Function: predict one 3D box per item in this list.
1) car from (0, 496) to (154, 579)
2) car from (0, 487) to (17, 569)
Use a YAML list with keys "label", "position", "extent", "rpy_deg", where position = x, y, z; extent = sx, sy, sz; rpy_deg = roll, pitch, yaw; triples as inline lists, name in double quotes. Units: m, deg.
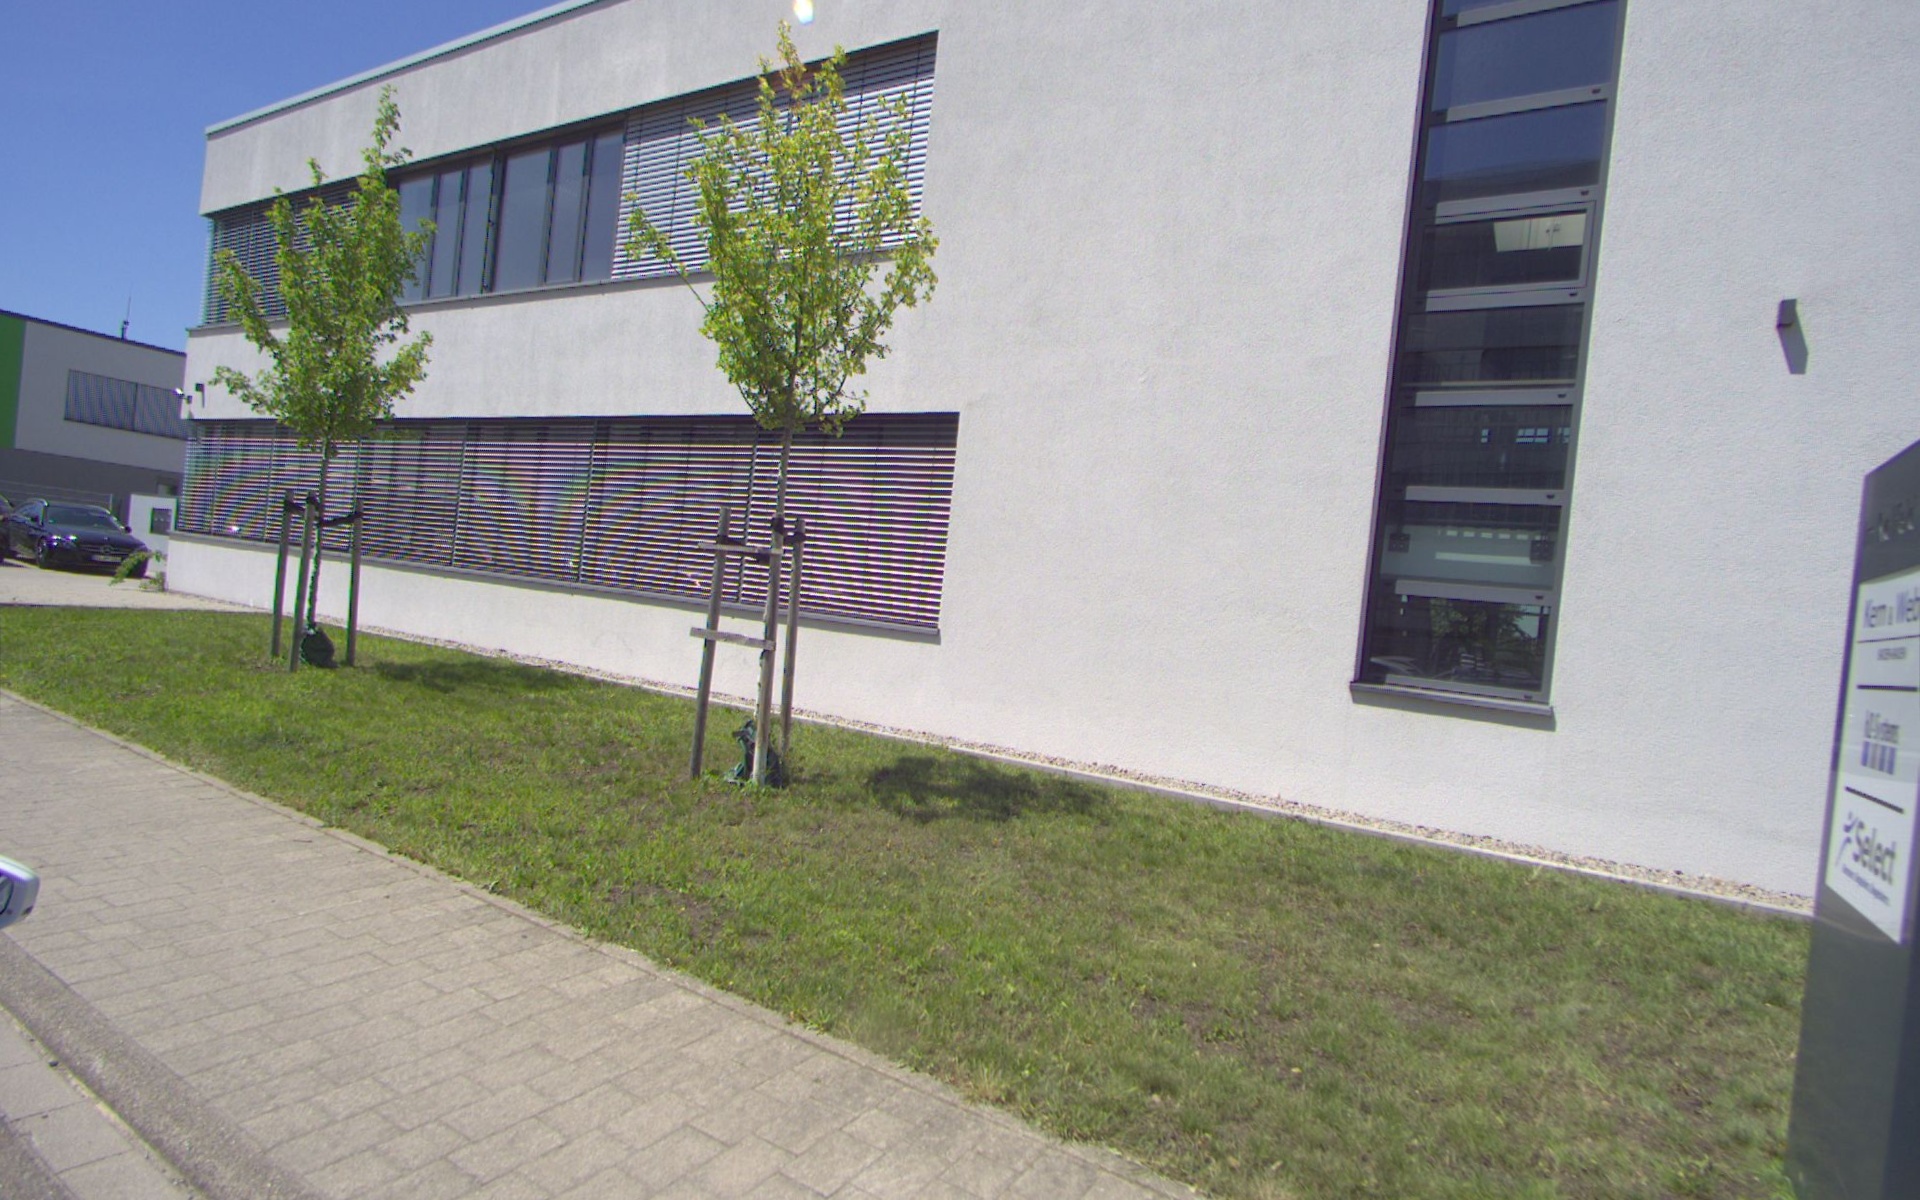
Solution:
- label: "car"
  position: [-20.334, -1.449, 22.946]
  extent: [3.956, 1.467, 1.725]
  rpy_deg: [6, -1, 32]
- label: "car"
  position: [-21.825, -1.727, 21.235]
  extent: [3.956, 1.652, 1.725]
  rpy_deg: [6, -1, 32]
